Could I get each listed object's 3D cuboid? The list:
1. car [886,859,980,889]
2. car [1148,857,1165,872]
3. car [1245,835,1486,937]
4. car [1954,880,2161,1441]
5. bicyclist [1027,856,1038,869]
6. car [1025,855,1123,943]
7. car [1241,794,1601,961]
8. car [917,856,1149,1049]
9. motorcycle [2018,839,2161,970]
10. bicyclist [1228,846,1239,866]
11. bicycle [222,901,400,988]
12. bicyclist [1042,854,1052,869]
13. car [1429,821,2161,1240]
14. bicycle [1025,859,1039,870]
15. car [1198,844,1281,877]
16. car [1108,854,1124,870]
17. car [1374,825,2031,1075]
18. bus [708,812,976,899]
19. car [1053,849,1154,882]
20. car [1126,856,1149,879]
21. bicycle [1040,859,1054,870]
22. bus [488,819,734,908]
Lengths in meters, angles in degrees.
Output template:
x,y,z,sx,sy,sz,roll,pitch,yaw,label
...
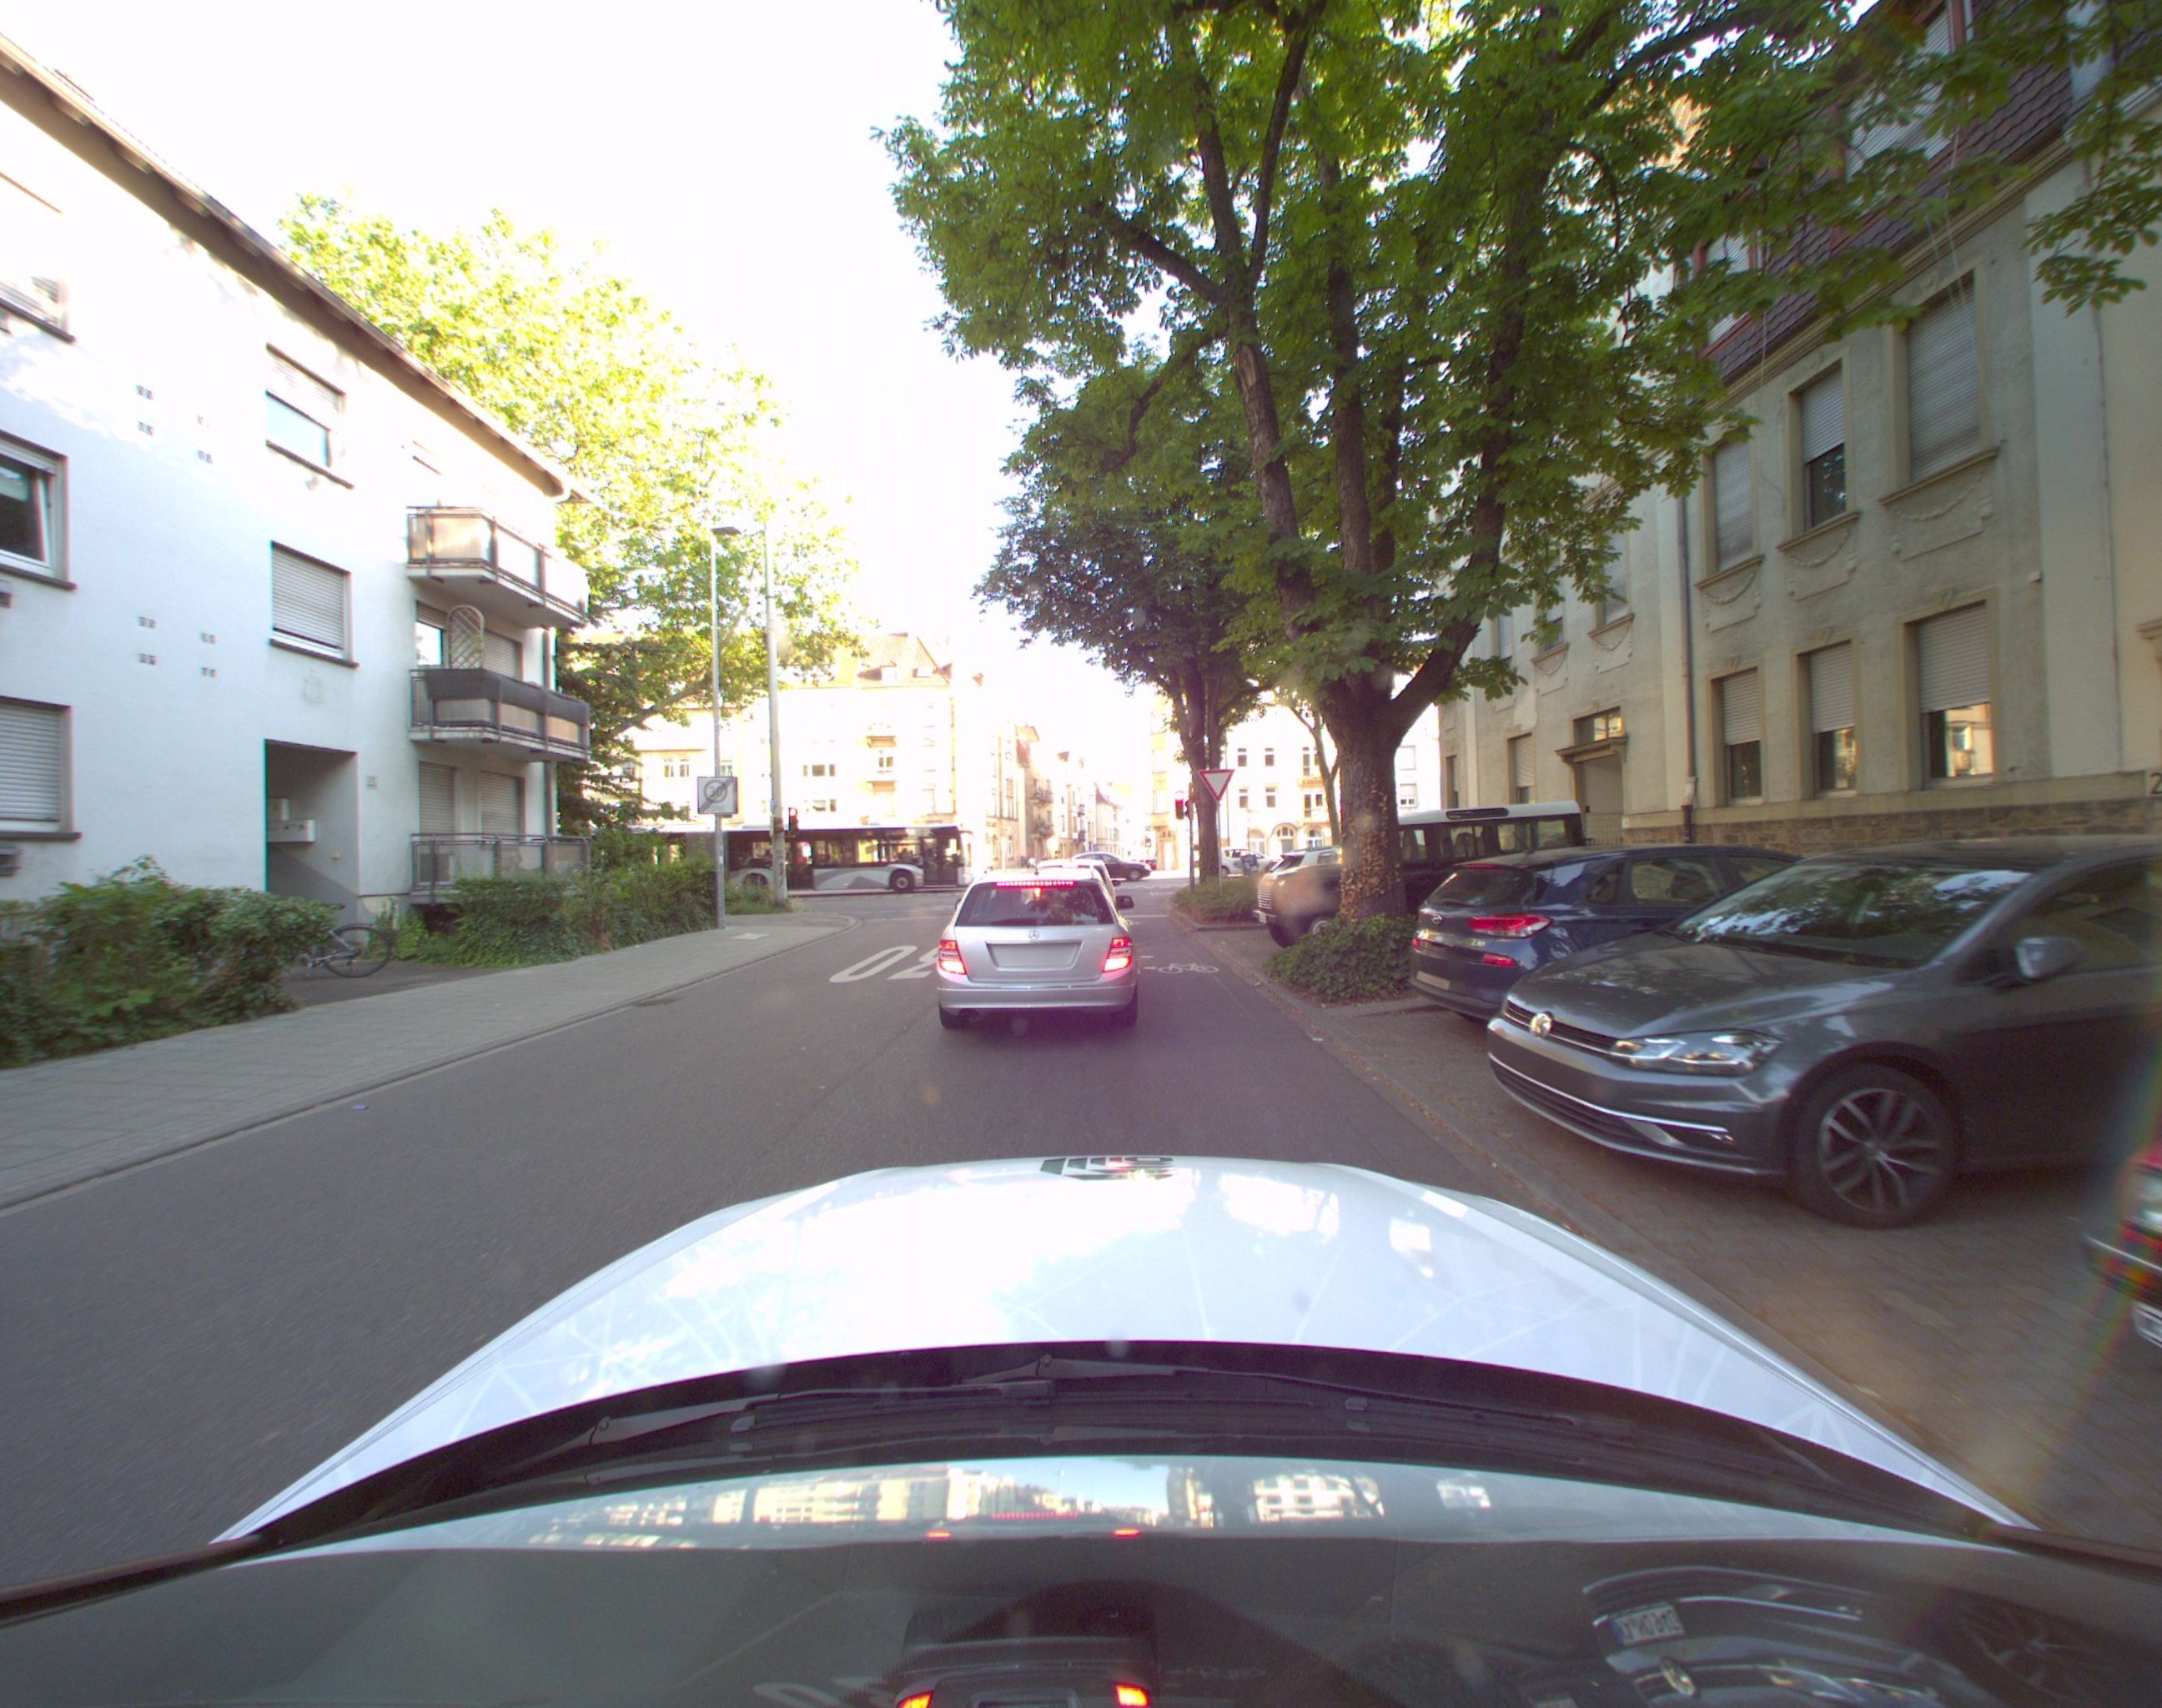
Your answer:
x,y,z,sx,sy,sz,roll,pitch,yaw,label
-6.887,0.937,38.223,4.192,1.236,1.715,-2,0,-7,car
9.640,1.322,103.525,1.824,1.744,4.012,-1,1,10,car
5.035,0.549,14.740,3.714,1.570,1.707,-3,0,-2,car
4.660,0.664,1.677,4.127,1.315,1.628,-3,0,-3,car
-4.467,0.775,75.351,0.765,1.156,0.755,-1,0,13,bicyclist
-0.106,0.749,15.809,1.614,1.446,4.344,-1,0,0,car
4.753,0.313,11.791,4.453,2.036,1.700,-3,0,-2,car
-0.366,0.767,8.579,1.771,1.452,4.547,-1,0,0,car
9.528,0.430,6.531,0.691,1.073,2.870,-4,0,1,motorcycle
11.305,0.125,60.224,0.642,1.426,0.636,-1,0,-3,bicyclist
-9.967,1.143,10.629,1.630,1.008,0.511,2,-1,-39,bicycle
-3.166,0.684,75.334,0.765,1.290,0.755,-1,0,13,bicyclist
4.114,0.629,3.996,4.042,1.452,1.721,-3,0,-2,car
-4.483,0.997,75.273,0.765,0.940,1.947,-1,0,13,bicycle
7.748,0.316,39.994,3.683,1.449,1.512,-2,0,-7,car
5.203,1.151,119.053,1.776,2.204,4.012,-1,1,10,car
4.426,0.623,6.210,3.714,1.452,1.707,-3,0,-2,car
-9.807,0.030,34.620,10.441,3.201,2.905,-2,0,-7,bus
1.050,0.540,39.409,4.684,1.428,1.715,-2,0,-7,car
6.115,1.396,87.559,2.018,2.279,4.012,-1,1,10,car
-3.161,0.977,75.332,0.765,0.934,1.947,-1,0,13,bicycle
-19.046,0.341,33.519,8.166,3.201,2.905,-2,0,-7,bus
